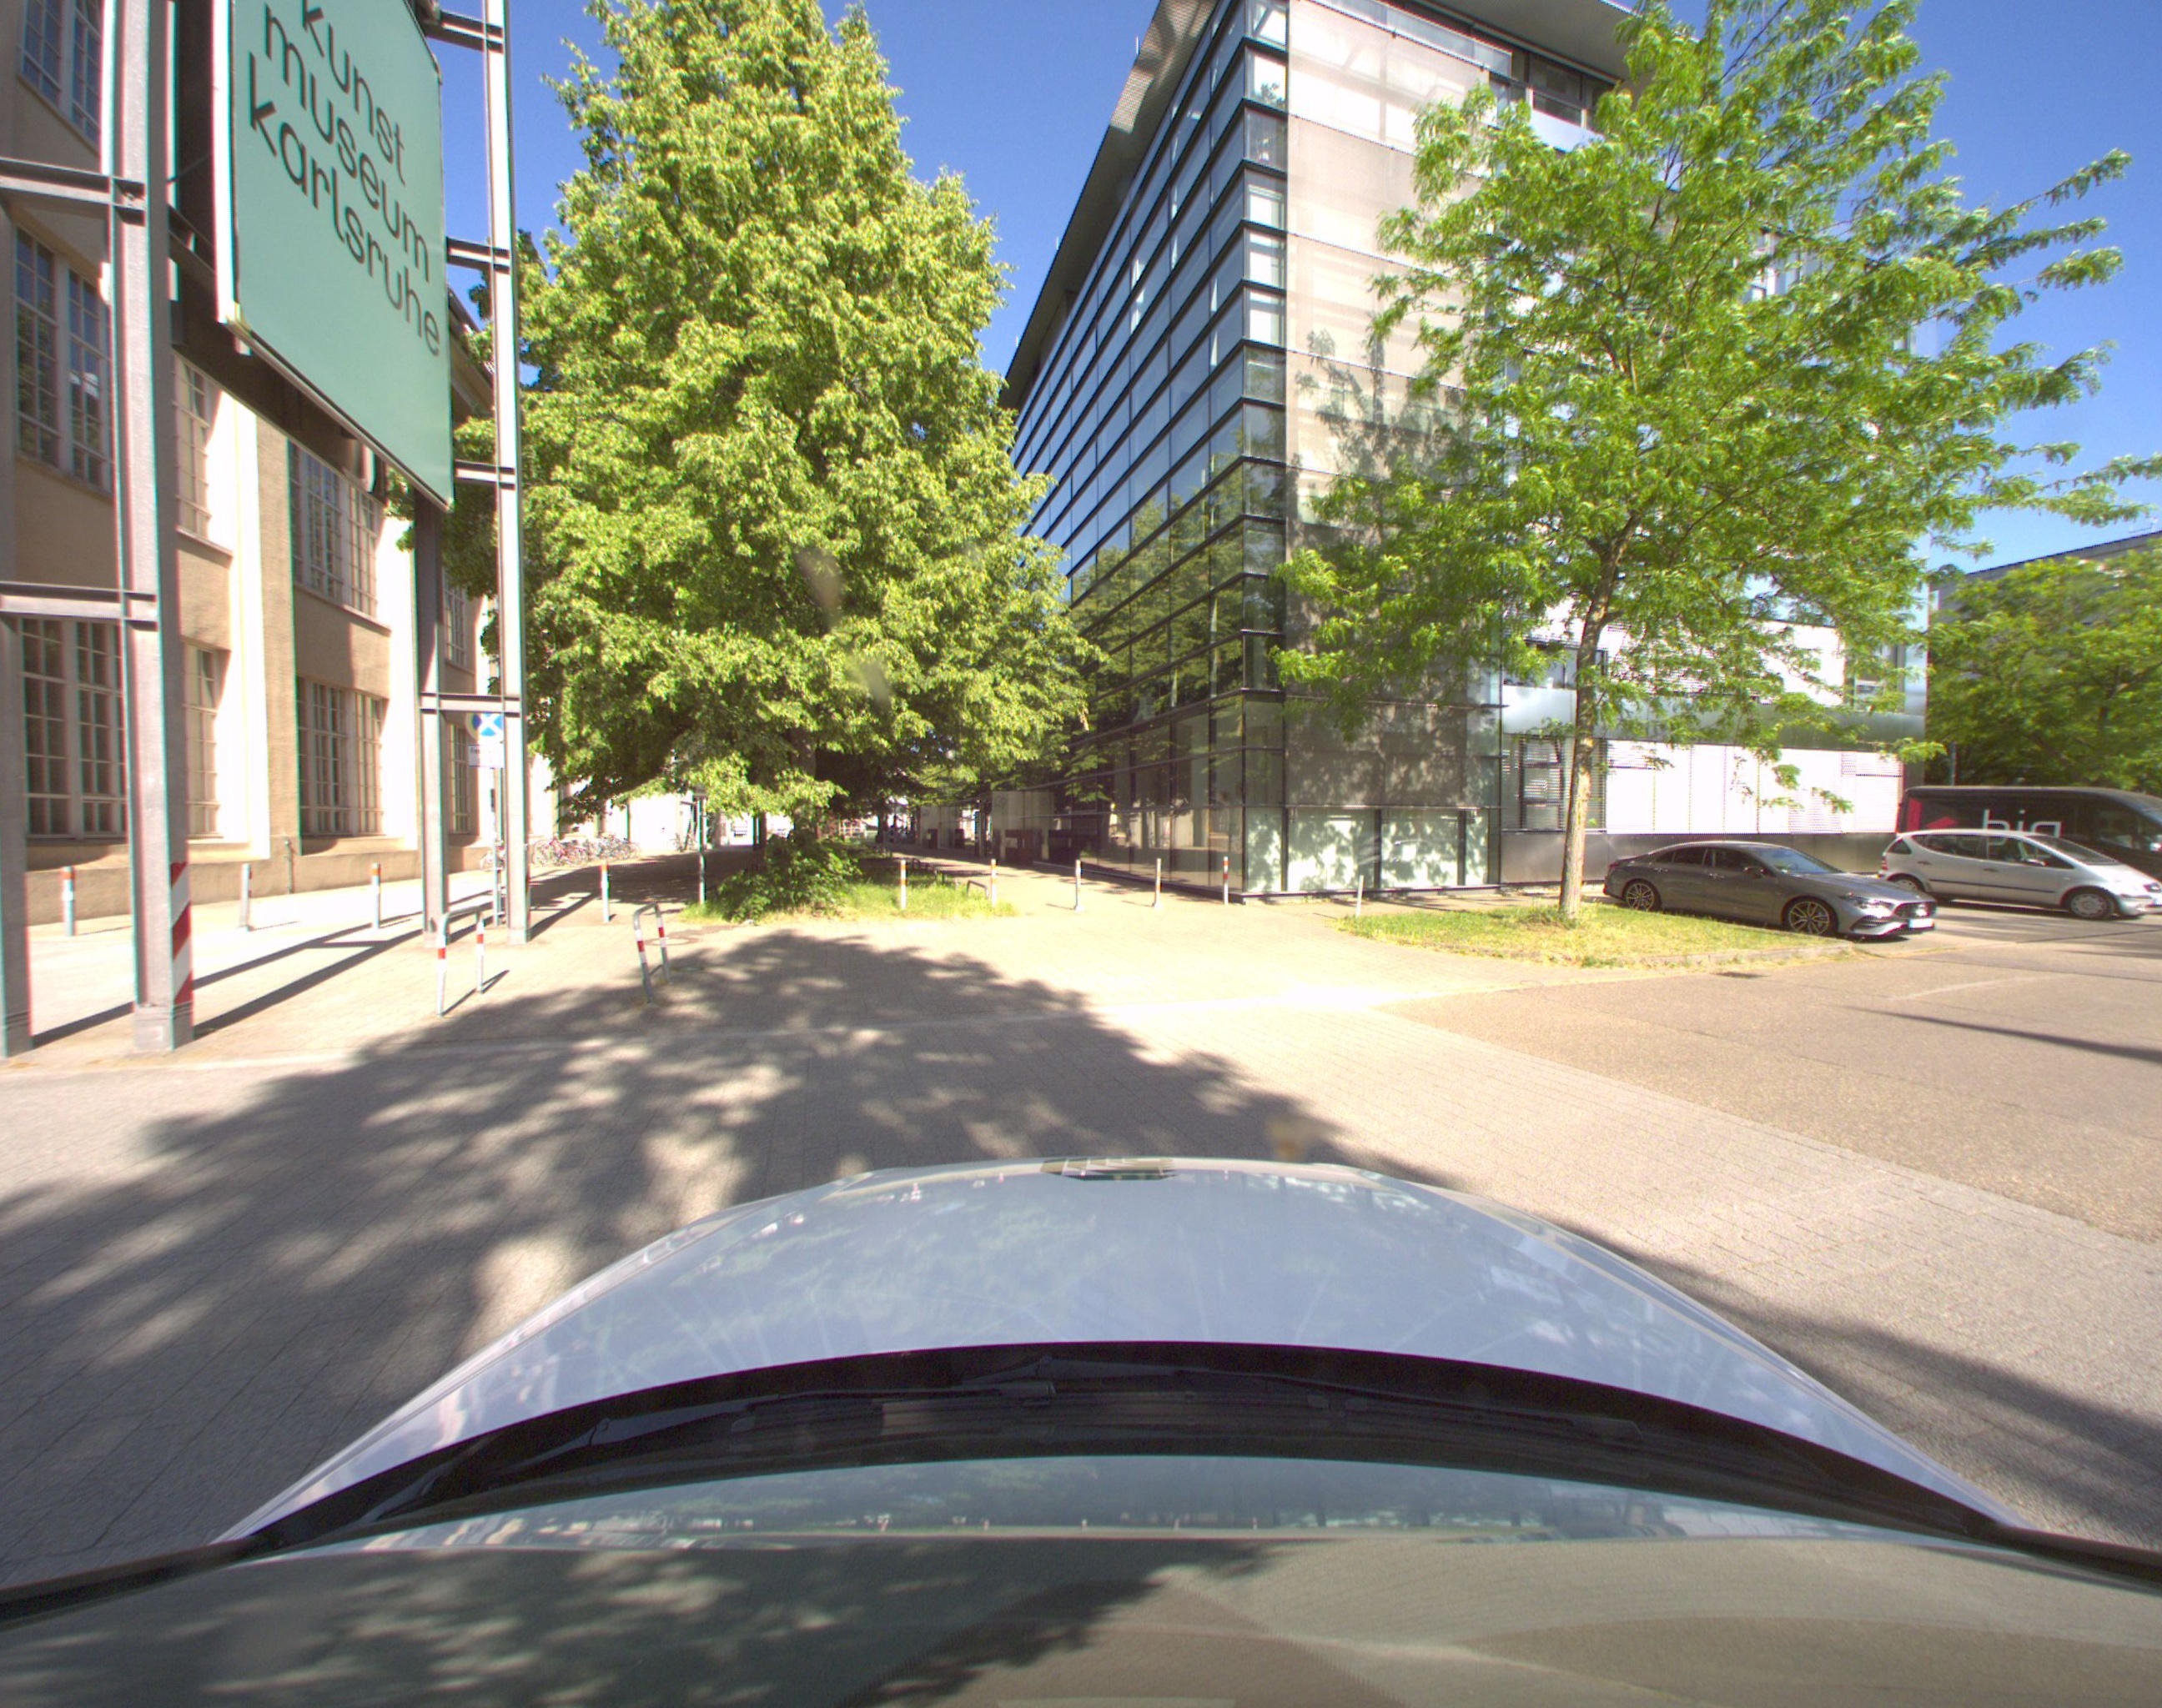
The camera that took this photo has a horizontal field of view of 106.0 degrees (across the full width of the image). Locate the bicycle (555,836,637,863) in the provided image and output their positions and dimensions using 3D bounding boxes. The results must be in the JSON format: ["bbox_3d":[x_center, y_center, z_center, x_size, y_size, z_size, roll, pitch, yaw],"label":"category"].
[{"bbox_3d":[-19.830,-0.198,33.385,2.812,1.063,0.713,-1,2,-23],"label":"bicycle"}]

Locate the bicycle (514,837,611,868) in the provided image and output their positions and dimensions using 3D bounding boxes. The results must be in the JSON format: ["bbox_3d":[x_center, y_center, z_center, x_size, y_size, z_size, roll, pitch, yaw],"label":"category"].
[{"bbox_3d":[-18.456,-0.068,29.089,2.812,1.063,0.713,-1,2,-23],"label":"bicycle"}]

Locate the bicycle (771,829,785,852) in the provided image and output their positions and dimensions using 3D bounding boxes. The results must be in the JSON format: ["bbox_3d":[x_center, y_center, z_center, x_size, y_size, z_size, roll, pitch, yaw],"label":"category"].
[{"bbox_3d":[-16.533,-0.731,44.345,0.622,1.196,2.116,-1,2,-23],"label":"bicycle"}]

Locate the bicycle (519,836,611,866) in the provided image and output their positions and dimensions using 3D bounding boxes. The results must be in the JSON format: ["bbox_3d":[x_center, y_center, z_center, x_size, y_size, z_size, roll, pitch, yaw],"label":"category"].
[{"bbox_3d":[-19.300,-0.120,30.537,2.808,1.063,0.714,0,2,-18],"label":"bicycle"}]

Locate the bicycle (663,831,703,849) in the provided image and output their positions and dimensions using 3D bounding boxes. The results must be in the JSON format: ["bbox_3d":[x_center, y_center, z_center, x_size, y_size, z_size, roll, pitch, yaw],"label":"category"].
[{"bbox_3d":[-23.466,-0.829,48.056,2.062,1.066,0.504,-1,2,-16],"label":"bicycle"}]

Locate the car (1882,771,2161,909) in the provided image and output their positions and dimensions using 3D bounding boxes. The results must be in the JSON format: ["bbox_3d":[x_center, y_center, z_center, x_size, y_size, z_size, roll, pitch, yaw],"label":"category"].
[{"bbox_3d":[21.178,-0.363,17.311,2.231,2.621,5.438,-1,4,-20],"label":"car"}]

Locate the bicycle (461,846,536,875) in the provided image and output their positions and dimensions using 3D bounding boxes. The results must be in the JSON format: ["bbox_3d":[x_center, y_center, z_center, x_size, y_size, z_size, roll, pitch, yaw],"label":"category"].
[{"bbox_3d":[-18.722,0.193,26.253,0.778,0.792,2.875,0,2,-10],"label":"bicycle"}]

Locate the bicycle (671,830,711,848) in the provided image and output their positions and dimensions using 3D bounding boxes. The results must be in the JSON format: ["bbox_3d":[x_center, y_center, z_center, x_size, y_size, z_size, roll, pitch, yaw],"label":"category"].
[{"bbox_3d":[-23.367,-0.886,48.815,2.062,1.066,0.504,-1,2,-16],"label":"bicycle"}]

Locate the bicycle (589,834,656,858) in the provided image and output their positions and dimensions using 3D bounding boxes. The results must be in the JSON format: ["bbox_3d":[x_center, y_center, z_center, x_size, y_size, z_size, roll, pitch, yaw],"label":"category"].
[{"bbox_3d":[-22.124,-0.391,39.380,2.742,1.150,0.713,-1,2,-23],"label":"bicycle"}]

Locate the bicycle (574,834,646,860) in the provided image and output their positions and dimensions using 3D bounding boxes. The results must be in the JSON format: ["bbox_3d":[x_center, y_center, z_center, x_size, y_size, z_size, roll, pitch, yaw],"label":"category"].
[{"bbox_3d":[-21.303,-0.329,36.884,2.742,1.150,0.713,-1,2,-23],"label":"bicycle"}]

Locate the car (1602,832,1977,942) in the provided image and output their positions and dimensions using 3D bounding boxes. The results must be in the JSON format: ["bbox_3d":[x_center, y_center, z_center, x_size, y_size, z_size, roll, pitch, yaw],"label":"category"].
[{"bbox_3d":[11.791,0.411,14.056,1.891,1.350,4.524,0,4,-18],"label":"car"}]

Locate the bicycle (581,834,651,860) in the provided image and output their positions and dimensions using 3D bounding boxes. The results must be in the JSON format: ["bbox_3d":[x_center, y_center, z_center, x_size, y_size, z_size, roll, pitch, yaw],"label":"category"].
[{"bbox_3d":[-21.460,-0.350,37.659,2.742,1.150,0.713,-1,2,-23],"label":"bicycle"}]

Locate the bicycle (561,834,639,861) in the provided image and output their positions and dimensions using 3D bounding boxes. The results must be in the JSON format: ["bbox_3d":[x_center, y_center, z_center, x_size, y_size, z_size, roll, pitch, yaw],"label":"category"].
[{"bbox_3d":[-20.851,-0.294,35.396,2.812,1.150,0.713,-1,2,-23],"label":"bicycle"}]

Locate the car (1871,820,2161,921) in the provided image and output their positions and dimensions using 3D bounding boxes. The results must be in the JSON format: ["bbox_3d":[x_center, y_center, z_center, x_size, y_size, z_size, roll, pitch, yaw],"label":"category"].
[{"bbox_3d":[18.850,0.214,16.326,1.891,1.644,3.822,0,4,-18],"label":"car"}]

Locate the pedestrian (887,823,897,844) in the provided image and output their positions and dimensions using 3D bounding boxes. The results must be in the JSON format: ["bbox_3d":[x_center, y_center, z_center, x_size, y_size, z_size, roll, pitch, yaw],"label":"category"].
[{"bbox_3d":[-14.183,-1.523,61.181,0.717,1.550,0.687,0,2,-12],"label":"pedestrian"}]
